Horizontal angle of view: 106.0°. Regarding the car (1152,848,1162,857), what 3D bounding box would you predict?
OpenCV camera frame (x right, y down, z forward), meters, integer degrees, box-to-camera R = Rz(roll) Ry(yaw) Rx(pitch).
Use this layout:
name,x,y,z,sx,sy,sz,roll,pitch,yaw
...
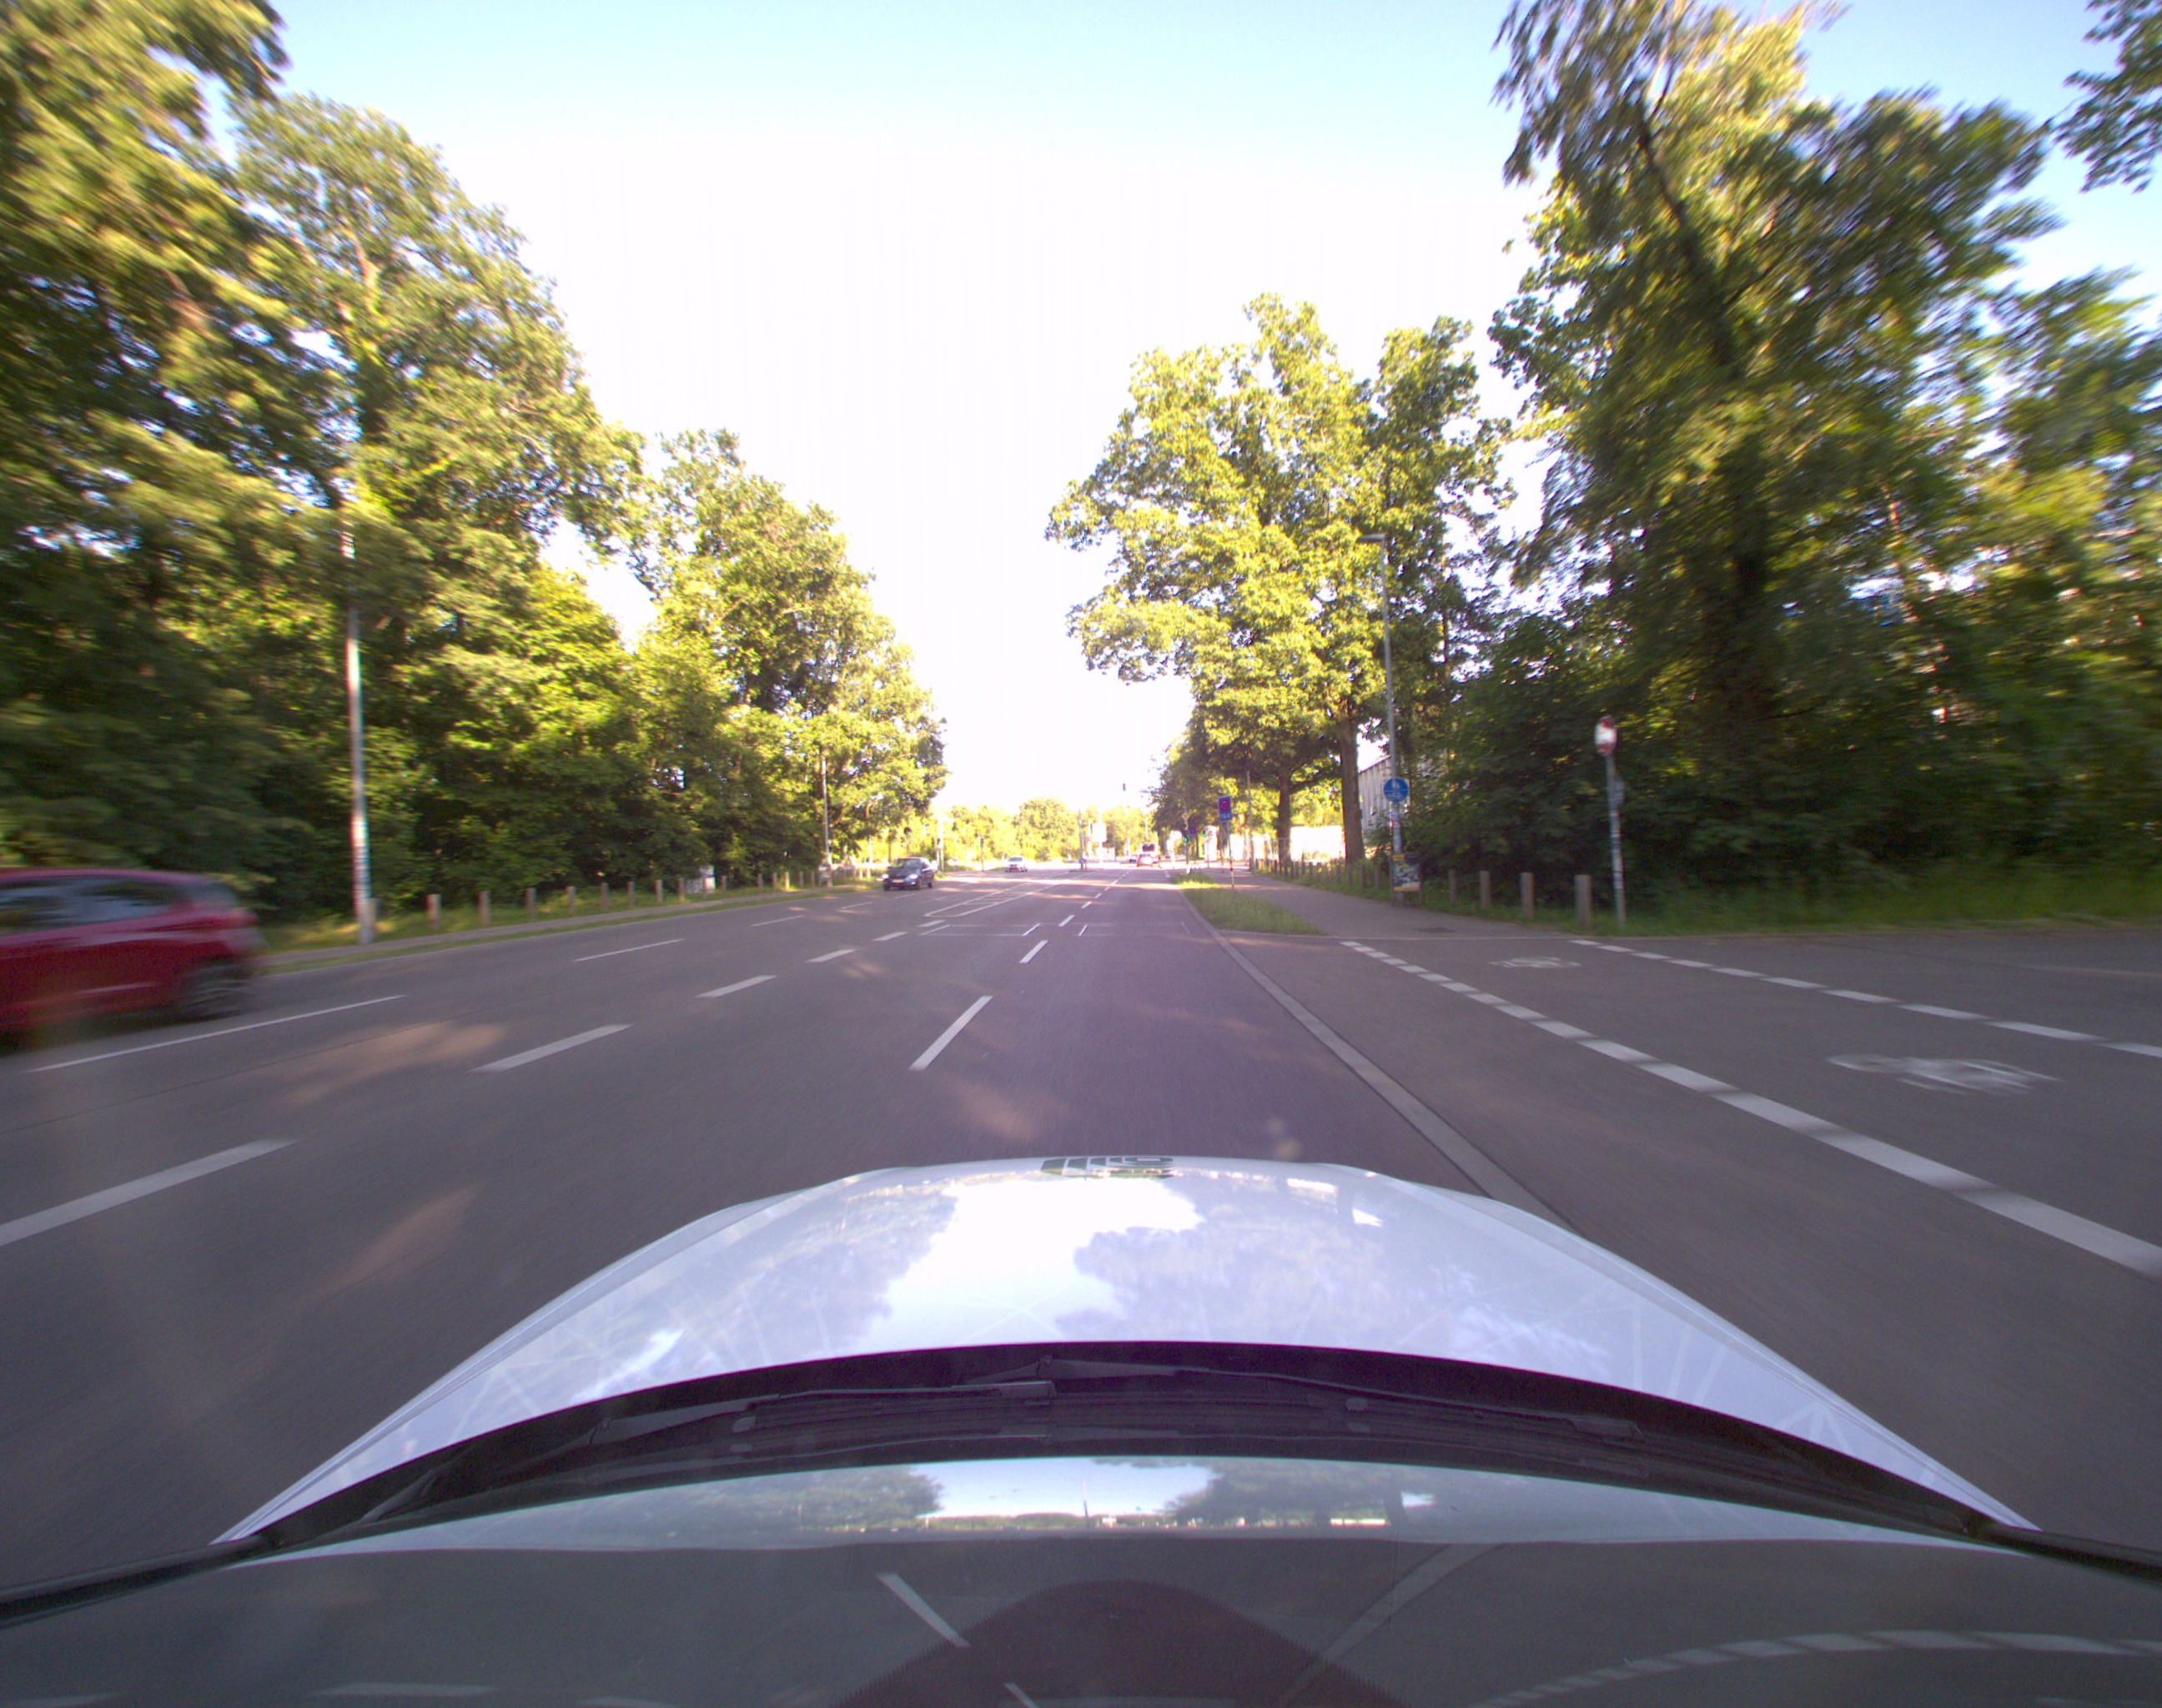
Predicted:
name,x,y,z,sx,sy,sz,roll,pitch,yaw
car,16.143,-0.302,173.114,1.852,1.684,3.782,-3,0,8

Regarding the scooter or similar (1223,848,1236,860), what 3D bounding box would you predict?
name,x,y,z,sx,sy,sz,roll,pitch,yaw
scooter or similar,16.005,0.031,87.750,0.562,1.256,1.610,-2,-1,43

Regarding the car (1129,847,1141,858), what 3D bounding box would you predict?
name,x,y,z,sx,sy,sz,roll,pitch,yaw
car,9.212,-0.237,138.554,1.871,1.765,4.005,-2,0,5

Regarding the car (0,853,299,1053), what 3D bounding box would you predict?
name,x,y,z,sx,sy,sz,roll,pitch,yaw
car,-9.040,0.777,6.586,1.657,1.518,3.808,-2,0,1

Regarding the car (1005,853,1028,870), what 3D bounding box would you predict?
name,x,y,z,sx,sy,sz,roll,pitch,yaw
car,-6.004,0.687,75.899,1.704,1.464,4.102,0,0,2

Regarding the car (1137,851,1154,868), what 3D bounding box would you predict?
name,x,y,z,sx,sy,sz,roll,pitch,yaw
car,7.198,0.630,90.920,1.871,1.765,4.005,-2,0,5

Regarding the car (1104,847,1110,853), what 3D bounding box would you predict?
name,x,y,z,sx,sy,sz,roll,pitch,yaw
car,8.282,-1.275,260.159,1.854,1.684,3.777,-3,0,4

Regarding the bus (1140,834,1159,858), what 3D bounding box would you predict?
name,x,y,z,sx,sy,sz,roll,pitch,yaw
bus,9.971,-1.131,118.889,2.593,3.368,7.985,-1,0,4

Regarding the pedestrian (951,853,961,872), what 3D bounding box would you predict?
name,x,y,z,sx,sy,sz,roll,pitch,yaw
pedestrian,-12.750,0.896,83.060,0.609,1.909,1.108,-2,-1,4

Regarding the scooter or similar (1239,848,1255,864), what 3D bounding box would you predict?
name,x,y,z,sx,sy,sz,roll,pitch,yaw
scooter or similar,14.882,0.176,73.017,1.368,1.287,0.597,-2,4,-38

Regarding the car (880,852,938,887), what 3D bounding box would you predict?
name,x,y,z,sx,sy,sz,roll,pitch,yaw
car,-7.970,0.688,38.074,1.649,1.508,4.003,-2,0,3
